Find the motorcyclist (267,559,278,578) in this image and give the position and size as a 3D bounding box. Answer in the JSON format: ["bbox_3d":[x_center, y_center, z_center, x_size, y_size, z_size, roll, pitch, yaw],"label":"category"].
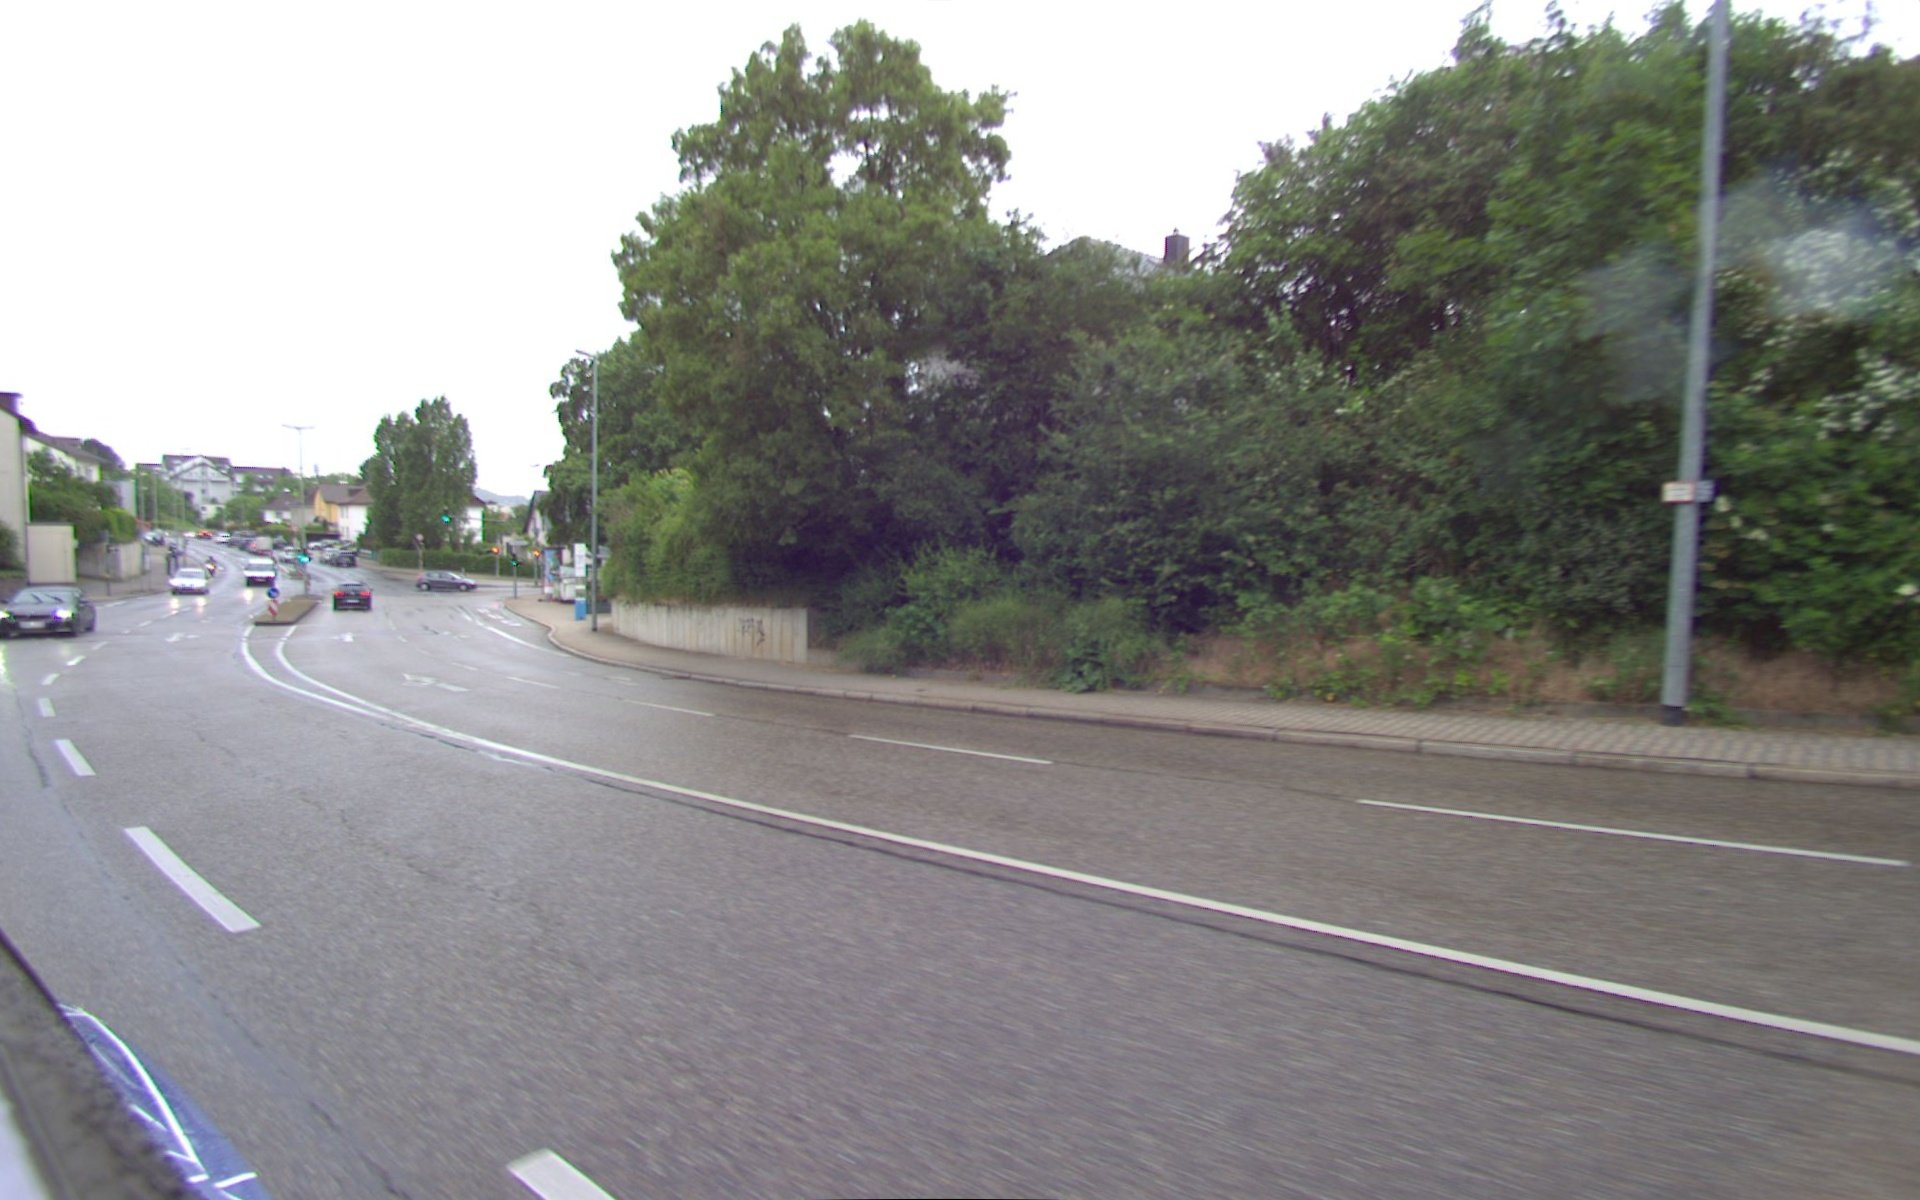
[{"bbox_3d":[-57.907,-2.663,85.272,0.749,1.614,0.810,0,4,-34],"label":"motorcyclist"}]

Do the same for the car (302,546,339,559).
[{"bbox_3d":[-90.443,-6.673,143.139,1.840,1.495,4.054,4,0,42],"label":"car"}]

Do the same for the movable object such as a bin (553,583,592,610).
[{"bbox_3d":[-23.729,-0.209,61.946,2.029,1.580,1.586,1,1,-29],"label":"movable object such as a bin"}]

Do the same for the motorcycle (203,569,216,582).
[{"bbox_3d":[-61.853,-2.038,83.408,0.751,0.959,2.449,0,4,-35],"label":"motorcycle"}]

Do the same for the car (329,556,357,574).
[{"bbox_3d":[-64.970,-3.722,106.556,1.782,1.681,4.607,0,5,-40],"label":"car"}]

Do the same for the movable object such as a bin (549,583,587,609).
[{"bbox_3d":[-24.560,-0.245,63.391,2.029,1.580,1.586,1,1,-29],"label":"movable object such as a bin"}]

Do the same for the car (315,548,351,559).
[{"bbox_3d":[-86.122,-6.406,139.038,4.048,1.430,1.888,-3,6,-40],"label":"car"}]

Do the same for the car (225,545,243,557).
[{"bbox_3d":[-104.569,-7.031,145.720,1.968,1.585,4.009,0,4,-38],"label":"car"}]

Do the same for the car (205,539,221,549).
[{"bbox_3d":[-123.042,-9.197,166.652,1.830,1.475,4.006,-1,4,-41],"label":"car"}]

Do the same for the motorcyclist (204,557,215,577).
[{"bbox_3d":[-61.795,-2.701,83.357,0.749,1.614,0.810,0,4,-36],"label":"motorcyclist"}]

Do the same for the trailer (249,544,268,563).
[{"bbox_3d":[-85.874,-5.657,123.873,1.870,2.195,4.047,0,3,-34],"label":"trailer"}]

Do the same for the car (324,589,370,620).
[{"bbox_3d":[-32.155,0.234,53.004,1.866,1.498,4.246,1,1,-34],"label":"car"}]

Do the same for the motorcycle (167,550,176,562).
[{"bbox_3d":[-89.891,-5.039,115.362,0.684,1.334,2.483,0,4,-42],"label":"motorcycle"}]

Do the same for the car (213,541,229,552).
[{"bbox_3d":[-114.578,-8.325,156.926,1.812,1.567,4.781,0,4,-38],"label":"car"}]

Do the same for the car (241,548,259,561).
[{"bbox_3d":[-95.127,-6.099,135.642,1.817,1.563,4.395,1,3,-37],"label":"car"}]

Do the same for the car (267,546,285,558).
[{"bbox_3d":[-96.379,-6.746,142.586,1.782,1.426,4.008,0,4,-40],"label":"car"}]

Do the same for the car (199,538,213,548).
[{"bbox_3d":[-128.768,-9.740,172.863,1.691,1.513,4.007,-1,4,-41],"label":"car"}]

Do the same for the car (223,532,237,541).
[{"bbox_3d":[-147.940,-12.936,205.165,1.969,1.585,4.008,0,5,-40],"label":"car"}]

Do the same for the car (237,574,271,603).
[{"bbox_3d":[-52.176,-0.866,74.760,1.926,1.884,4.758,1,3,-37],"label":"car"}]

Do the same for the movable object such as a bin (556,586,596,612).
[{"bbox_3d":[-23.023,-0.069,60.654,2.029,1.526,1.348,1,1,-29],"label":"movable object such as a bin"}]

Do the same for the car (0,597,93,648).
[{"bbox_3d":[-28.585,0.655,31.543,1.811,1.468,4.011,0,0,-32],"label":"car"}]

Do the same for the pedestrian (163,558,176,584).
[{"bbox_3d":[-63.353,-2.298,81.090,0.786,2.028,0.736,0,4,-34],"label":"pedestrian"}]

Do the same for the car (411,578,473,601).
[{"bbox_3d":[-39.065,-0.808,76.424,3.988,1.498,1.847,1,3,-20],"label":"car"}]

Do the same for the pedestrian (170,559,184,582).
[{"bbox_3d":[-64.021,-2.432,82.731,0.783,1.793,1.014,2,3,-34],"label":"pedestrian"}]

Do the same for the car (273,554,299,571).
[{"bbox_3d":[-73.173,-4.101,109.852,1.801,1.669,4.473,0,3,-42],"label":"car"}]

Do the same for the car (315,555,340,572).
[{"bbox_3d":[-69.488,-4.033,111.145,1.782,1.580,4.151,0,5,-40],"label":"car"}]

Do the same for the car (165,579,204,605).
[{"bbox_3d":[-48.763,-0.523,63.678,1.811,1.492,4.011,1,2,-35],"label":"car"}]

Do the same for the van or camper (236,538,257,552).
[{"bbox_3d":[-114.540,-8.832,162.510,2.157,2.028,5.143,0,5,-41],"label":"van or camper"}]
